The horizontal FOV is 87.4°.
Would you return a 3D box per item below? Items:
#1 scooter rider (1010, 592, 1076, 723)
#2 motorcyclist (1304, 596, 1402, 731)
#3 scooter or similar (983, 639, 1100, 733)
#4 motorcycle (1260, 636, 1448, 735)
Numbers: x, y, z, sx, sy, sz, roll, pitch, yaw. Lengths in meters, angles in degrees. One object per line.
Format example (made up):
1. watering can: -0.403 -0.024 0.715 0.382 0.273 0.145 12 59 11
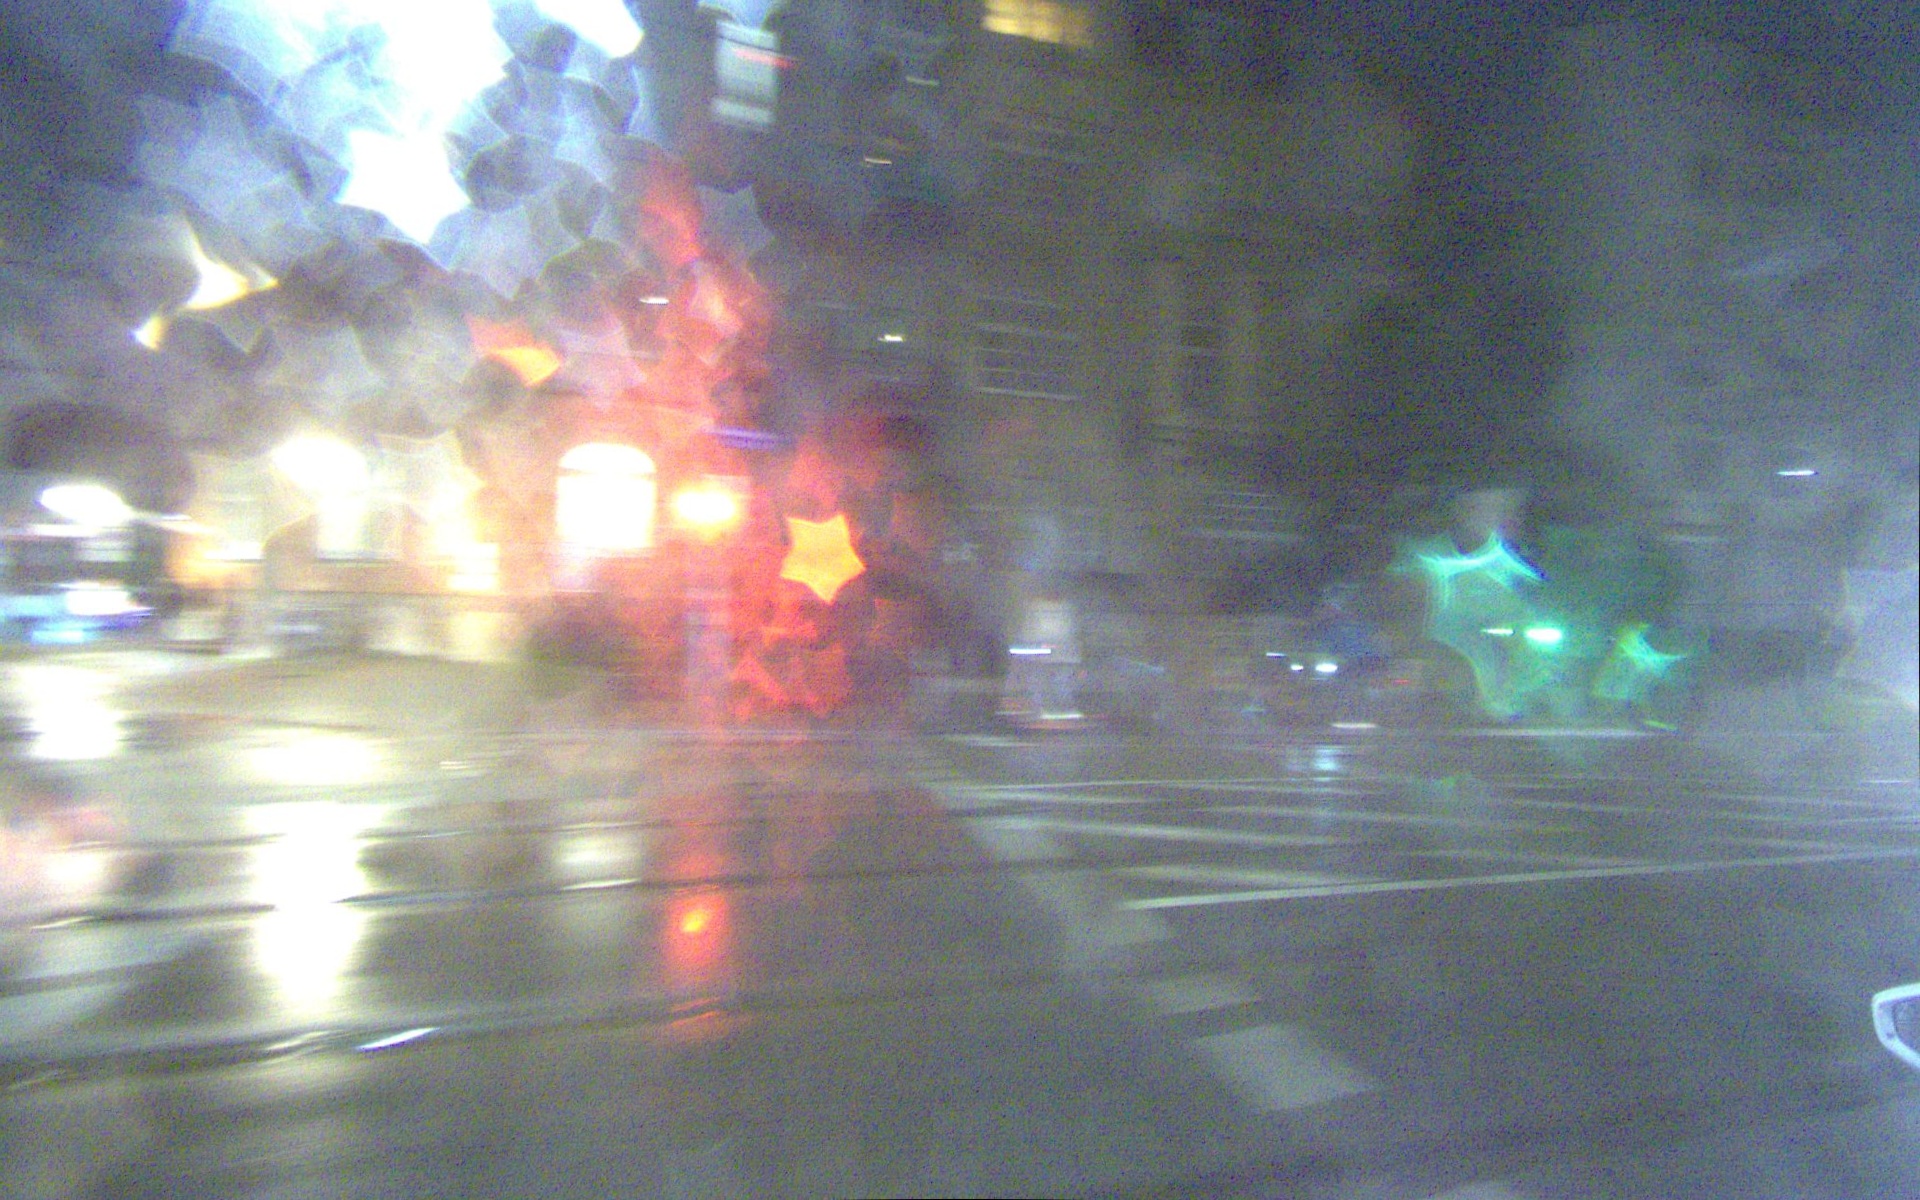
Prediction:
1. scooter rider: 1.057 0.727 12.894 0.640 1.594 0.641 3 2 -7
2. motorcyclist: 5.338 0.852 13.681 1.009 1.753 0.709 2 -2 -5
3. scooter or similar: 1.034 1.095 12.907 1.344 1.066 0.641 3 2 -7
4. motorcycle: 5.326 1.146 13.636 2.281 1.246 0.709 2 -2 -5
